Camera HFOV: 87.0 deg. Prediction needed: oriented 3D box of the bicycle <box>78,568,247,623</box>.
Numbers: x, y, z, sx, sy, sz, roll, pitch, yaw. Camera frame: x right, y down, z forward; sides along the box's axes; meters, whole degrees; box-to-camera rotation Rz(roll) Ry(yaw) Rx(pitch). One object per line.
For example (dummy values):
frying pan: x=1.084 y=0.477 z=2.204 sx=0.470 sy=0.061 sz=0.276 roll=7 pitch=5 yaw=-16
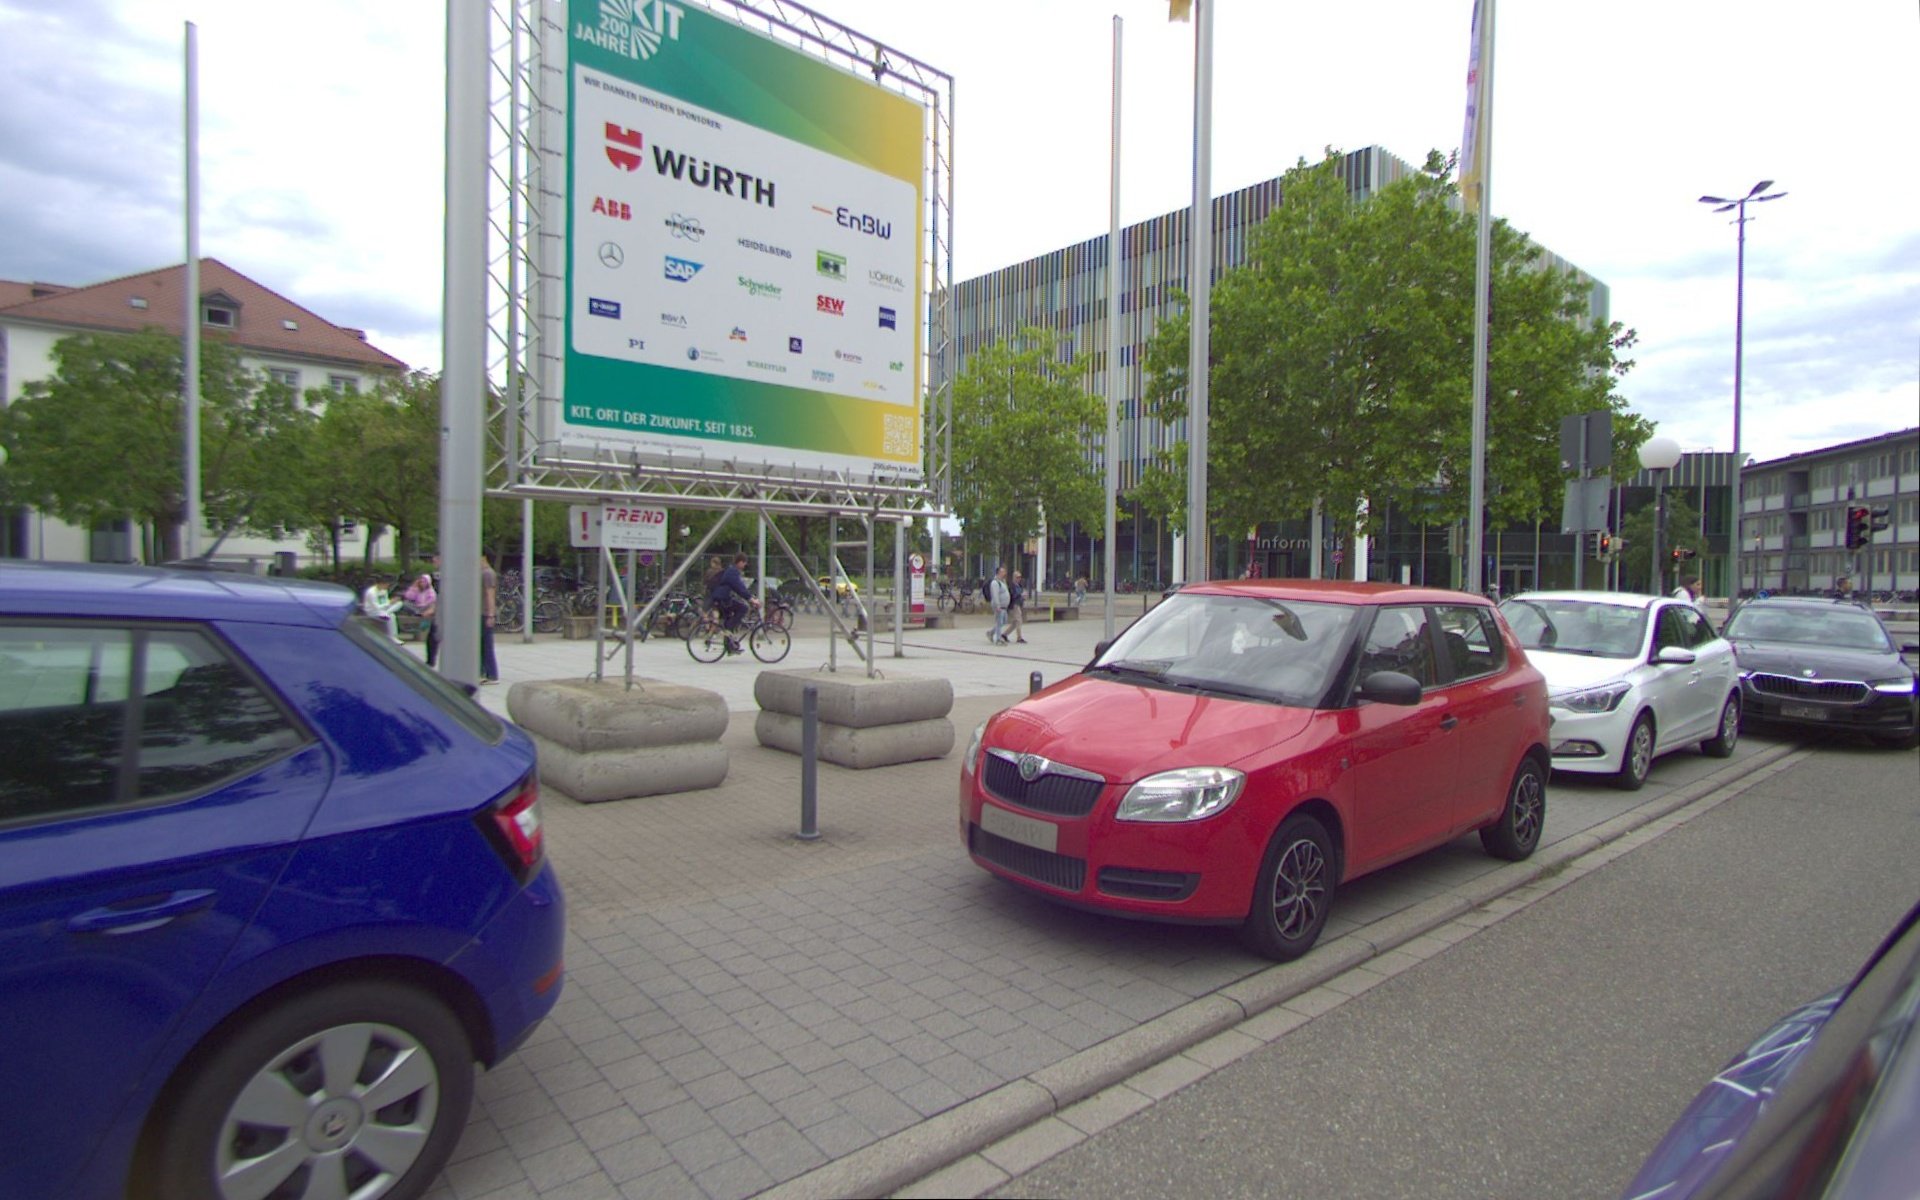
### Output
bicycle: x=-18.774 y=-0.078 z=23.922 sx=3.051 sy=1.185 sz=0.747 roll=3 pitch=-2 yaw=-39

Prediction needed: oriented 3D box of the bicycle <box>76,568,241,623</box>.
bicycle: x=-19.321 y=-0.085 z=24.485 sx=3.051 sy=1.185 sz=0.747 roll=3 pitch=-2 yaw=-39

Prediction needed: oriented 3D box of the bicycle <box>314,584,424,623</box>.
bicycle: x=-19.528 y=0.124 z=33.512 sx=3.051 sy=1.185 sz=0.747 roll=3 pitch=-2 yaw=-39

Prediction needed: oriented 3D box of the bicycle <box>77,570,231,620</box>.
bicycle: x=-20.925 y=-0.101 z=26.365 sx=3.052 sy=1.185 sz=0.747 roll=3 pitch=-2 yaw=-40

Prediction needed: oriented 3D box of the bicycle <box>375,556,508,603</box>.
bicycle: x=-13.722 y=-0.532 z=26.869 sx=3.052 sy=1.184 sz=0.747 roll=0 pitch=1 yaw=-39

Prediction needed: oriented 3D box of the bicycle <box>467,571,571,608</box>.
bicycle: x=-16.078 y=-0.369 z=36.964 sx=3.329 sy=1.185 sz=1.055 roll=2 pitch=-2 yaw=-35

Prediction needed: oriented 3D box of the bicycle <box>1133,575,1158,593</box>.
bicycle: x=14.106 y=-1.199 z=77.042 sx=2.064 sy=1.275 sz=0.628 roll=3 pitch=-2 yaw=-36

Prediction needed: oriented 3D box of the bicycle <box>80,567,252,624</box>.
bicycle: x=-18.249 y=-0.072 z=23.360 sx=3.051 sy=1.185 sz=0.747 roll=3 pitch=-2 yaw=-39

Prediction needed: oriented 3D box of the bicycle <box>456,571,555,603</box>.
bicycle: x=-17.447 y=-0.526 z=38.921 sx=3.330 sy=1.184 sz=1.056 roll=-2 pitch=2 yaw=-35

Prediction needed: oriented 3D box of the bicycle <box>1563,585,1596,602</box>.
bicycle: x=37.229 y=-0.401 z=60.823 sx=0.474 sy=0.947 sz=2.014 roll=0 pitch=2 yaw=-9

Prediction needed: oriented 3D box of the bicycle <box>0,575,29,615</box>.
bicycle: x=-29.748 y=-0.206 z=30.017 sx=3.051 sy=1.185 sz=0.747 roll=3 pitch=-2 yaw=-39

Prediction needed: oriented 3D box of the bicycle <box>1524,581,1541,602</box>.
bicycle: x=30.628 y=-0.443 z=54.166 sx=0.478 sy=1.058 sz=1.772 roll=1 pitch=2 yaw=20

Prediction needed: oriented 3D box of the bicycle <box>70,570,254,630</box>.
bicycle: x=-17.249 y=0.035 z=21.979 sx=3.051 sy=1.185 sz=0.747 roll=3 pitch=-2 yaw=-39

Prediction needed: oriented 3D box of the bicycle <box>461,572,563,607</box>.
bicycle: x=-16.808 y=-0.373 z=38.016 sx=3.329 sy=1.185 sz=1.055 roll=2 pitch=-2 yaw=-35

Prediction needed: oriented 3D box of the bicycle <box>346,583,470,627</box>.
bicycle: x=-15.961 y=0.160 z=29.343 sx=3.051 sy=1.185 sz=0.747 roll=3 pitch=-2 yaw=-39

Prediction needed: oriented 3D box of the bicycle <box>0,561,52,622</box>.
bicycle: x=-19.731 y=-0.195 z=19.645 sx=3.051 sy=1.185 sz=0.747 roll=3 pitch=-2 yaw=-39

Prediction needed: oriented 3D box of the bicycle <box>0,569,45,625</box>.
bicycle: x=-21.591 y=-0.105 z=21.535 sx=3.051 sy=1.185 sz=0.747 roll=3 pitch=-2 yaw=-39

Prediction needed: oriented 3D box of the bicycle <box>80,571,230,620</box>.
bicycle: x=-21.403 y=-0.105 z=26.980 sx=3.052 sy=1.185 sz=0.747 roll=3 pitch=-2 yaw=-40

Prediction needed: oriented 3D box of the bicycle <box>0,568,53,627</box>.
bicycle: x=-20.242 y=-0.087 z=20.241 sx=3.051 sy=1.185 sz=0.747 roll=3 pitch=-2 yaw=-39

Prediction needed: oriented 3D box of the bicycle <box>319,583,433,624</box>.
bicycle: x=-18.767 y=0.131 z=32.591 sx=3.051 sy=1.185 sz=0.747 roll=3 pitch=-2 yaw=-39

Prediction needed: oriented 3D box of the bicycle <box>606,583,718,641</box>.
bicycle: x=-6.420 y=0.278 z=21.922 sx=0.456 sy=1.185 sz=2.374 roll=0 pitch=-2 yaw=44

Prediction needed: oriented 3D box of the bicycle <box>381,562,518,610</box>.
bicycle: x=-13.015 y=-0.362 z=25.911 sx=3.052 sy=1.184 sz=0.747 roll=0 pitch=1 yaw=-39

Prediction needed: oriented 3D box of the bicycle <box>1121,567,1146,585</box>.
bicycle: x=13.388 y=-1.874 z=77.950 sx=2.064 sy=1.275 sz=0.628 roll=3 pitch=-2 yaw=-36

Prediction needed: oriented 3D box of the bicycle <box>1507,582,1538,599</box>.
bicycle: x=33.810 y=-0.571 z=60.806 sx=0.474 sy=0.947 sz=2.014 roll=0 pitch=2 yaw=-9

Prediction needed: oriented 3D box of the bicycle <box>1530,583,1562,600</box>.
bicycle: x=35.129 y=-0.533 z=60.704 sx=0.474 sy=0.947 sz=2.014 roll=0 pitch=2 yaw=-9

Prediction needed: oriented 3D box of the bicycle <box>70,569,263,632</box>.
bicycle: x=-16.284 y=0.046 z=20.883 sx=3.051 sy=1.185 sz=0.621 roll=3 pitch=-2 yaw=-39

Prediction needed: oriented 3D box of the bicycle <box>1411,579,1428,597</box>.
bicycle: x=28.381 y=-0.755 z=62.532 sx=0.476 sy=1.058 sz=1.911 roll=0 pitch=2 yaw=10

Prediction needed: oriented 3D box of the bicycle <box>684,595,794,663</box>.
bicycle: x=-3.761 y=0.480 z=17.203 sx=1.763 sy=1.107 sz=0.878 roll=1 pitch=0 yaw=-16

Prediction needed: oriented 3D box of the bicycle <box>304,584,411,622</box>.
bicycle: x=-20.735 y=0.111 z=34.893 sx=3.051 sy=1.185 sz=0.747 roll=3 pitch=-2 yaw=-39

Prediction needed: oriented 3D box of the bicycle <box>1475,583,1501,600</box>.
bicycle: x=32.037 y=-0.521 z=61.451 sx=0.474 sy=0.947 sz=2.011 roll=1 pitch=1 yaw=-1

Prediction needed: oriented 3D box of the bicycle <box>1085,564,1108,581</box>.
bicycle: x=10.860 y=-2.181 z=80.696 sx=2.068 sy=1.275 sz=0.627 roll=3 pitch=-2 yaw=-43

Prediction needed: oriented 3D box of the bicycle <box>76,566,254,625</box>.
bicycle: x=-17.780 y=-0.069 z=22.734 sx=3.051 sy=1.185 sz=0.747 roll=3 pitch=-2 yaw=-39

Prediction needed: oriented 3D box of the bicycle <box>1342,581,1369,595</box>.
bicycle: x=25.891 y=-0.801 z=66.258 sx=1.876 sy=0.937 sz=0.485 roll=0 pitch=1 yaw=-23

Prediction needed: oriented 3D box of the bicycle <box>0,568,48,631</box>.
bicycle: x=-19.246 y=-0.044 z=19.022 sx=3.051 sy=1.185 sz=0.747 roll=3 pitch=-2 yaw=-39
